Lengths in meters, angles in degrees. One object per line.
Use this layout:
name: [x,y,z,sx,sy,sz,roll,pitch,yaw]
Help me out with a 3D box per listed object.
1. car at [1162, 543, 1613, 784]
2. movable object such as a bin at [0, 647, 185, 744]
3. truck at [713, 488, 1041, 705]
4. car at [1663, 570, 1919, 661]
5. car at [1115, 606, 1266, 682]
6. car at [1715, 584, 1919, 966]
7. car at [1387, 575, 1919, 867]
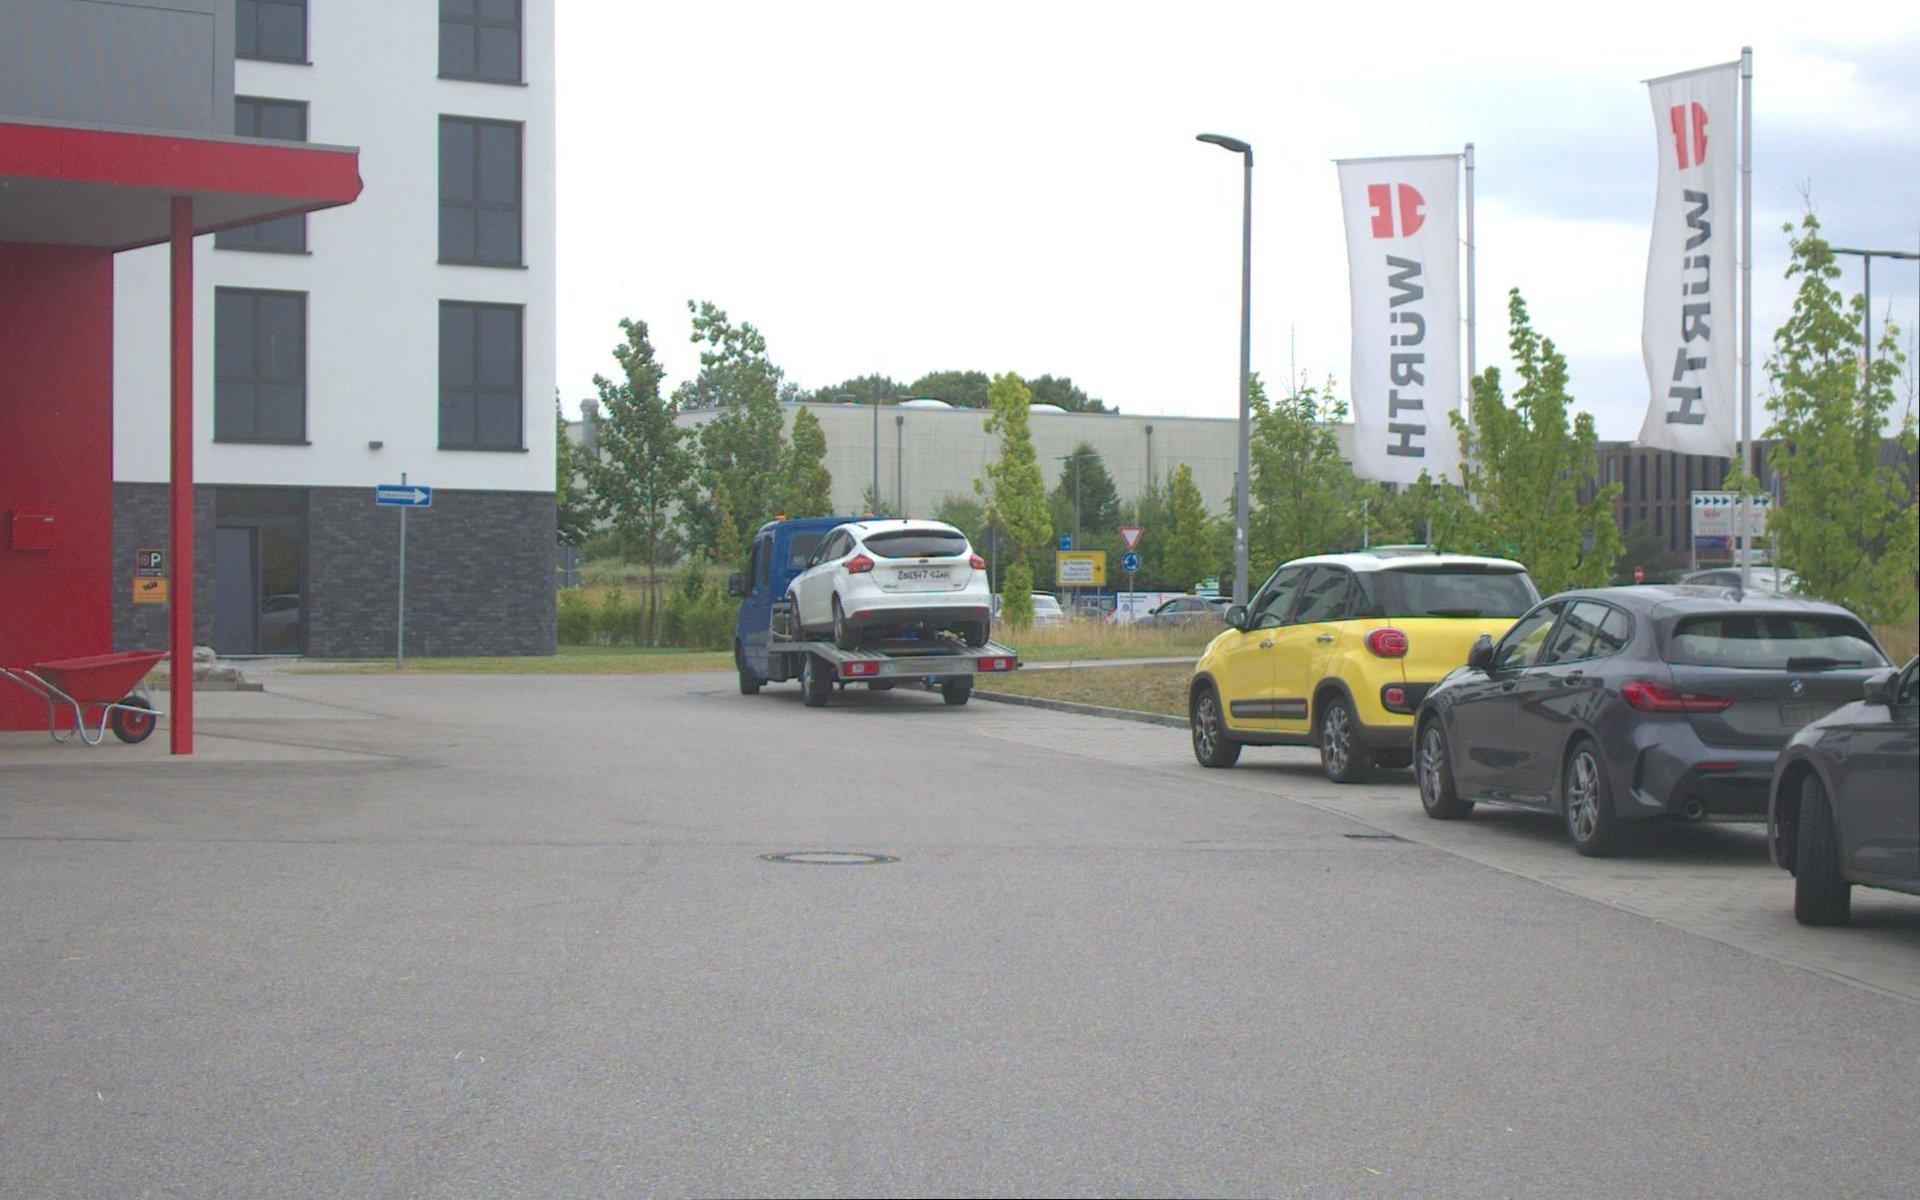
car: [3.116,0.448,25.910,1.856,1.644,4.001,2,0,-17]
movable object such as a bin: [-6.780,0.724,26.177,1.488,0.701,0.965,1,0,-29]
truck: [-1.184,-0.042,42.160,2.331,2.398,7.898,0,0,-14]
car: [13.341,0.220,55.395,1.762,1.390,4.559,0,1,-21]
car: [5.905,1.110,88.482,1.993,1.853,4.000,-2,1,-28]
car: [4.607,0.695,13.305,1.751,1.464,4.477,1,1,-9]
car: [3.856,0.606,19.530,1.751,1.464,4.108,1,1,-9]
